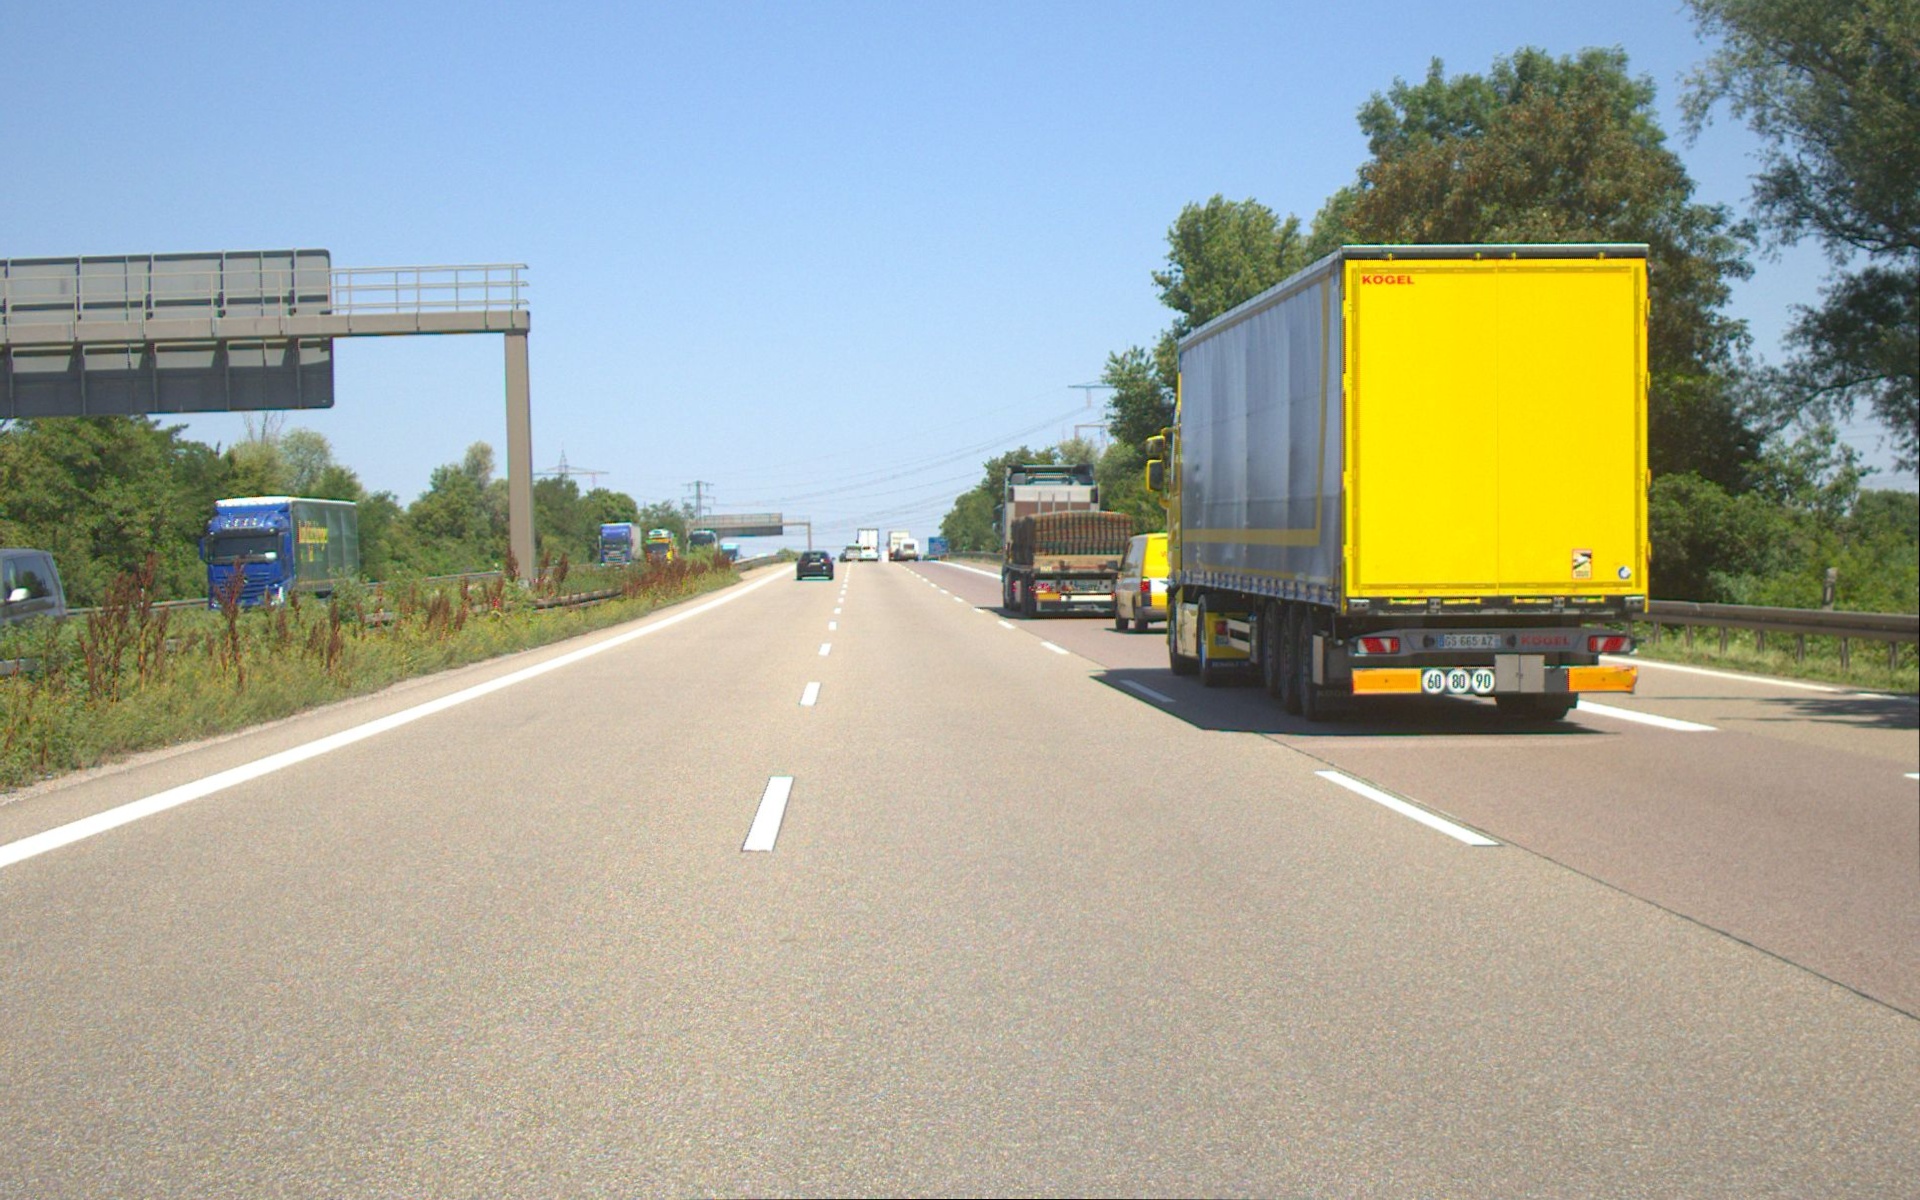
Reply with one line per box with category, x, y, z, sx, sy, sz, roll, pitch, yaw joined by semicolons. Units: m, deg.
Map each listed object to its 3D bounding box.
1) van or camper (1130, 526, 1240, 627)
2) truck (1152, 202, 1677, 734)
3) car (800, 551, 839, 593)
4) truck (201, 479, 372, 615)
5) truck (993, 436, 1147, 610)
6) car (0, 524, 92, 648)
van or camper;4.378;-0.489;67.581;1.993;1.903;4.971;0;1;2
truck;4.153;-1.124;36.248;2.845;4.243;16.792;-1;0;-1
car;-6.814;-1.360;167.086;1.791;2.007;3.888;0;0;-1
truck;-23.495;-1.835;121.073;2.955;4.327;18.244;-2;1;-2
truck;2.577;-1.810;86.320;2.969;3.943;16.614;0;0;-1
car;-13.301;-0.188;46.392;1.993;1.584;4.818;-2;1;-1
